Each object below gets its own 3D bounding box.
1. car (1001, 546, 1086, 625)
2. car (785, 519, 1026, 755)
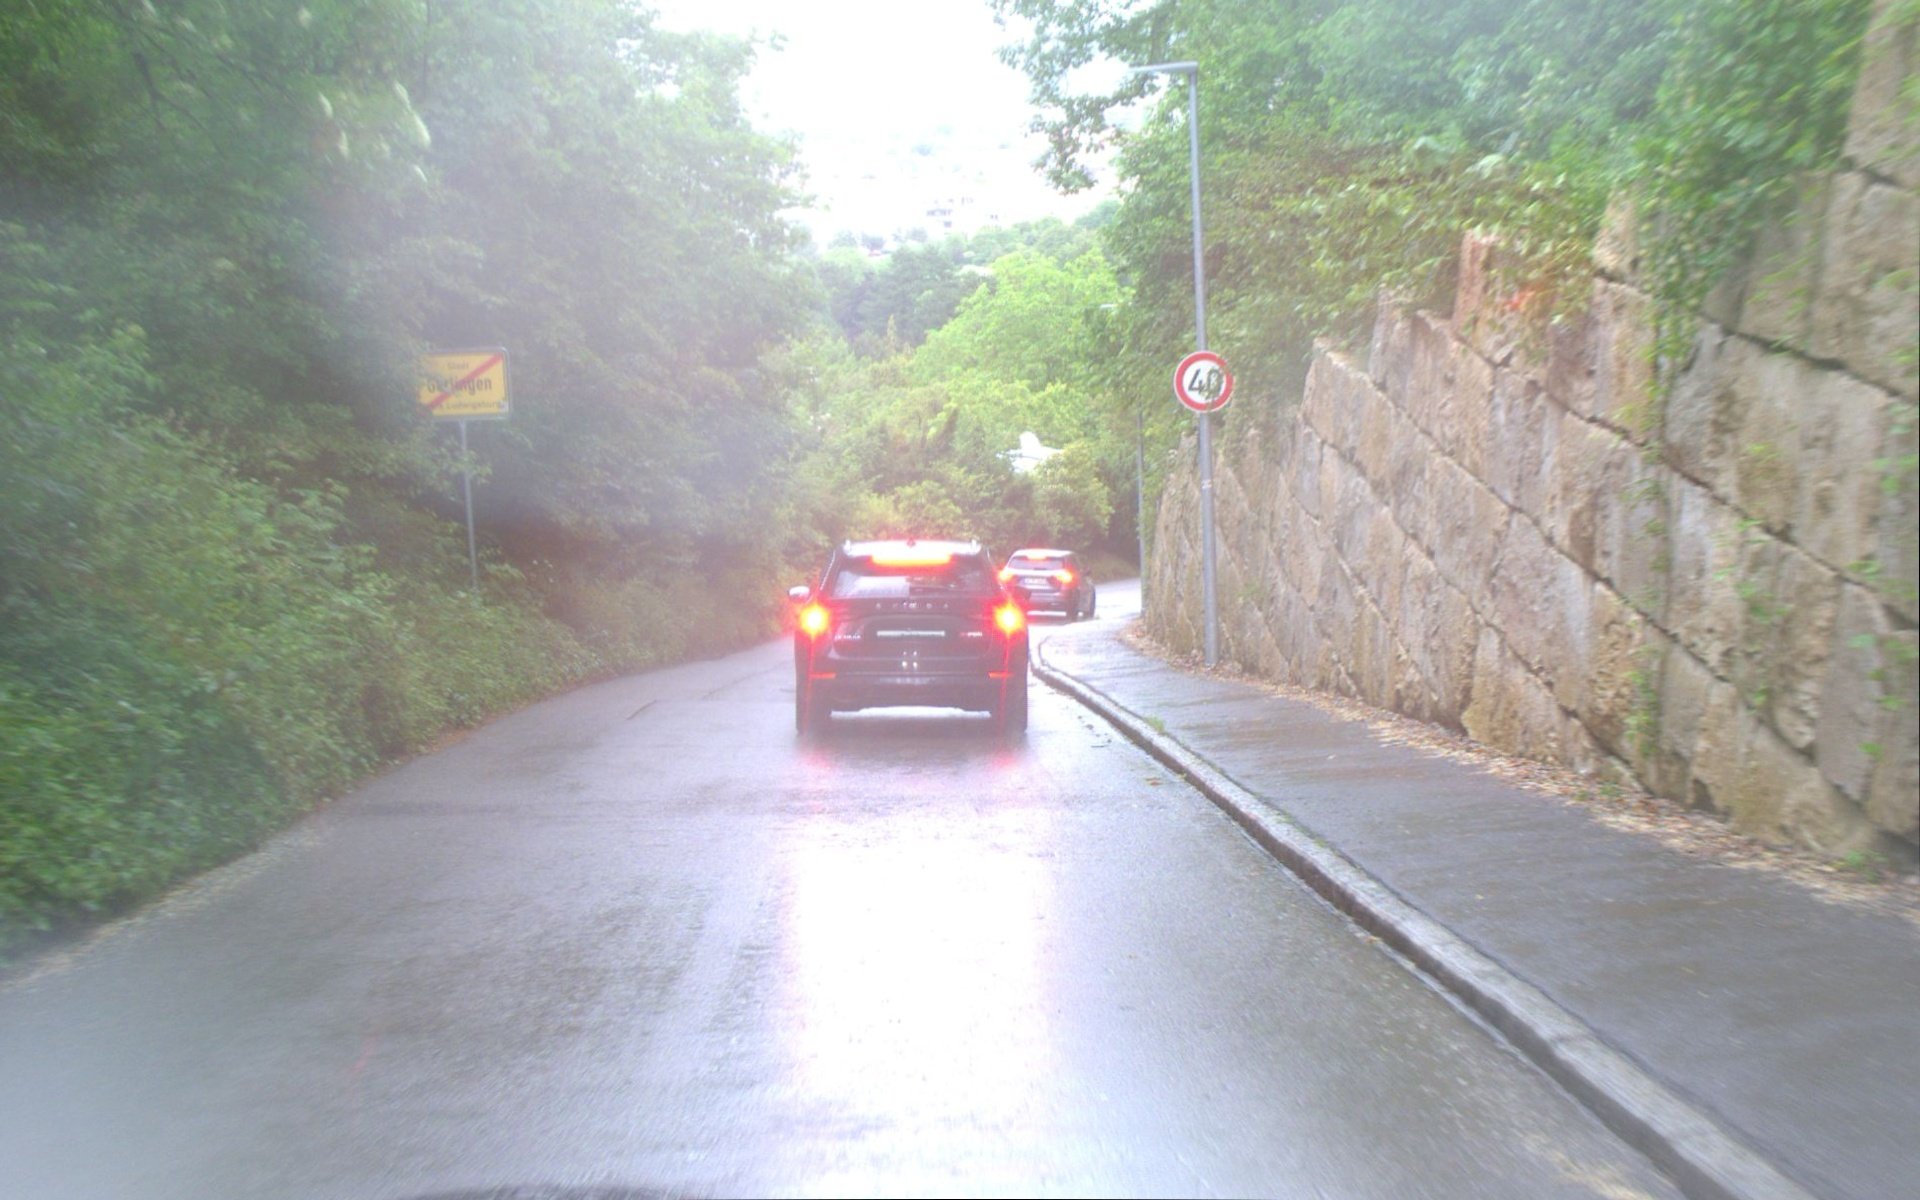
[{"bbox_3d":[1.901,-0.341,77.702,1.863,1.737,4.000,1,1,2],"label":"car"},{"bbox_3d":[-0.482,0.219,26.705,1.699,1.445,4.001,-2,4,-3],"label":"car"}]
